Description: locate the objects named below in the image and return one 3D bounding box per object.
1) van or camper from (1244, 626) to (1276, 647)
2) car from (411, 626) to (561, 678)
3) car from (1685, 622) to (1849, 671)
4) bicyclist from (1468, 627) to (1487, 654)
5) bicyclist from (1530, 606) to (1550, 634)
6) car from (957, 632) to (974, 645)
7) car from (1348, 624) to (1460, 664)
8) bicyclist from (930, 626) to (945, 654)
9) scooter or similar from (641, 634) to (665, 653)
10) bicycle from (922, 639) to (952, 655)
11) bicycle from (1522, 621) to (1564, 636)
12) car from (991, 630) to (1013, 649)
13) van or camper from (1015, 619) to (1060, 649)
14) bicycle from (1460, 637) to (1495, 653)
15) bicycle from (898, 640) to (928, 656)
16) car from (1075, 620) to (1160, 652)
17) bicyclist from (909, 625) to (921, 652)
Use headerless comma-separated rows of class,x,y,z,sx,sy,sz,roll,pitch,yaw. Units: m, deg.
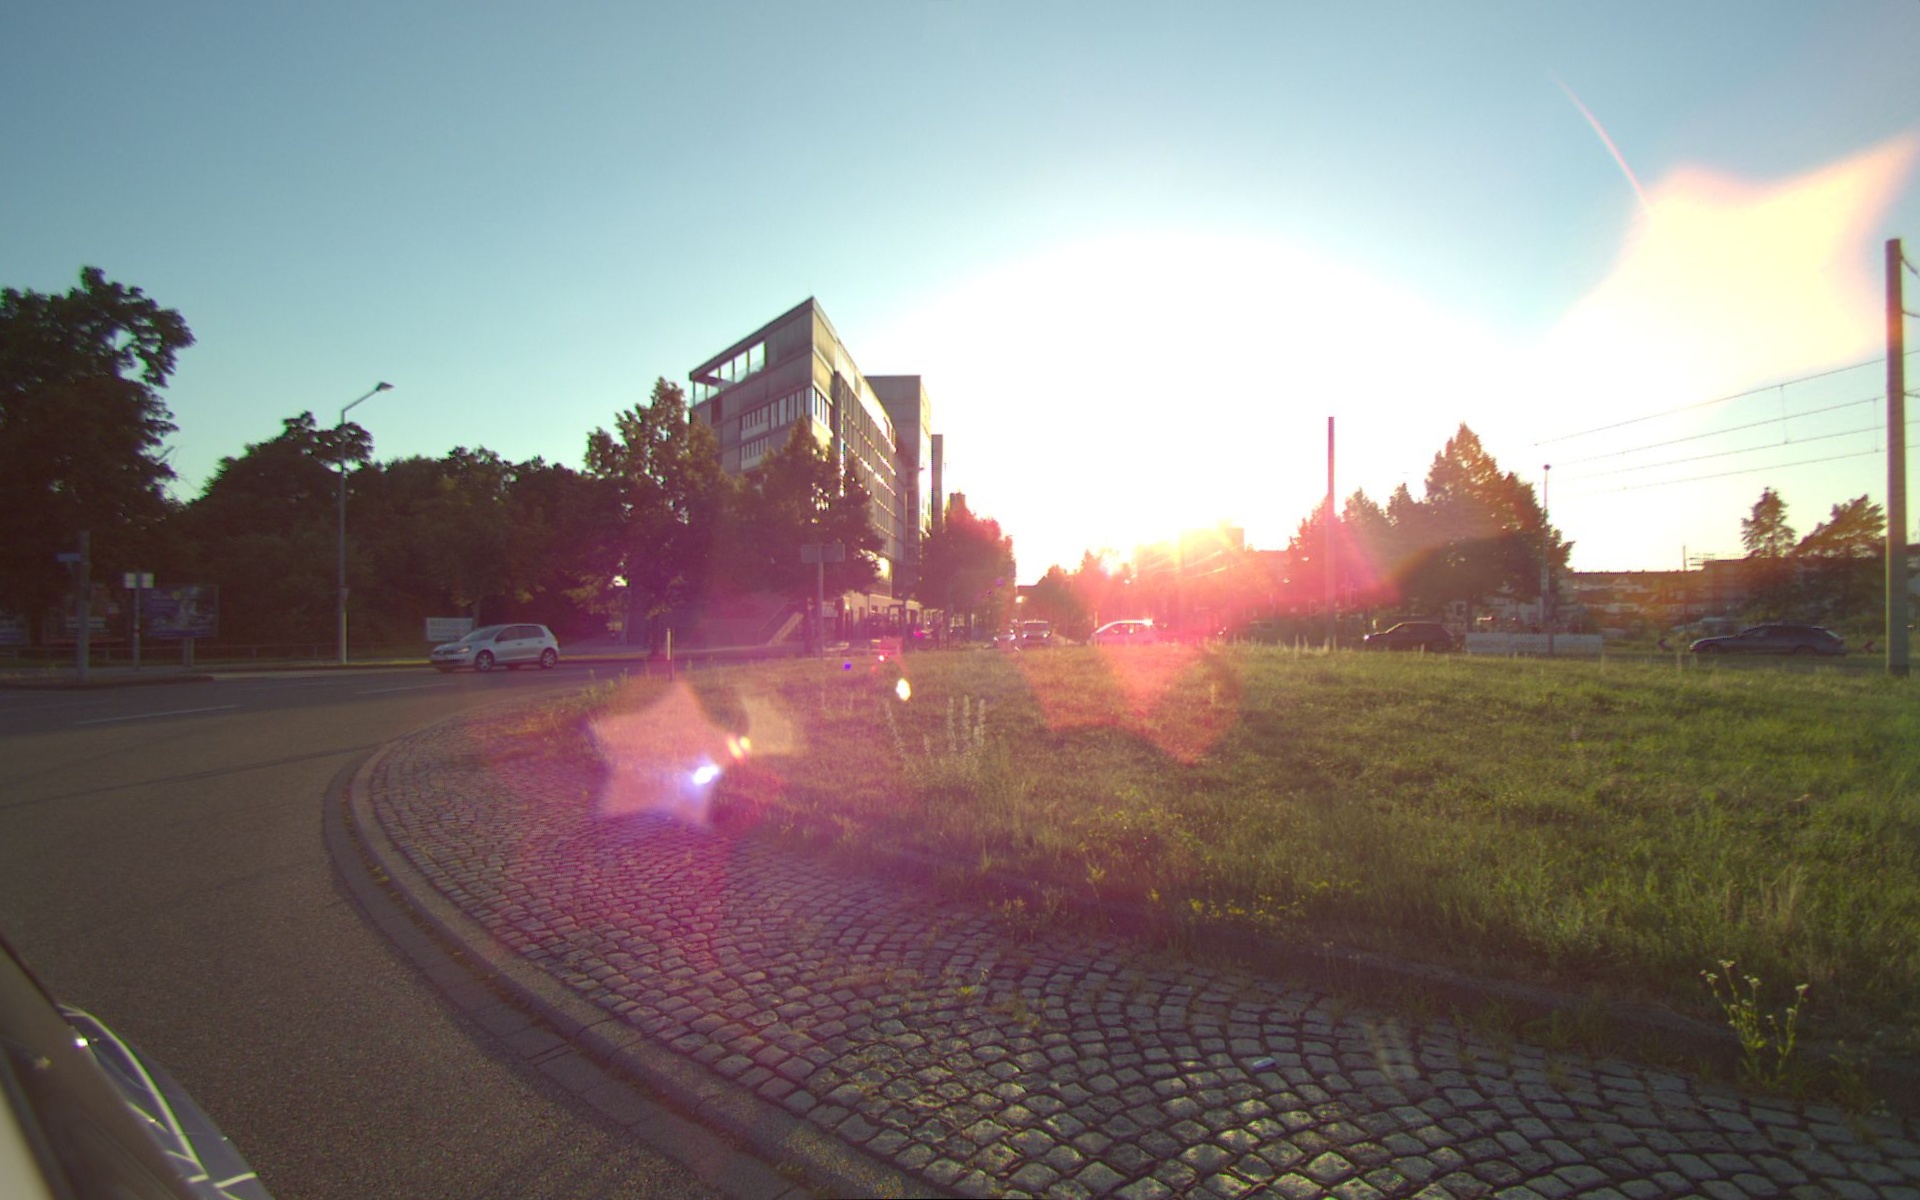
van or camper,29.834,3.649,100.754,1.890,2.025,5.297,0,-3,3
car,-14.882,1.587,31.999,1.883,1.492,4.014,-1,-1,27
car,30.420,1.738,38.277,1.724,1.761,4.603,1,-3,-41
bicyclist,32.029,2.485,62.662,0.805,1.653,0.813,-1,-2,7
bicyclist,34.511,1.180,60.204,0.684,1.646,0.800,1,-3,-37
car,0.673,4.382,115.849,1.779,1.475,3.996,0,-2,3
car,20.468,2.020,46.724,4.578,1.761,1.734,-1,-2,30
bicyclist,-1.432,2.551,64.605,0.840,1.769,0.801,-1,-2,10
scooter or similar,-20.585,2.920,67.898,1.562,1.229,0.365,-1,-2,14
bicycle,-1.470,3.035,64.945,1.843,1.030,0.436,-1,-2,11
bicycle,34.654,1.714,60.190,0.504,0.852,2.140,1,-3,-37
car,3.465,3.276,83.447,1.779,1.475,3.996,0,-1,3
van or camper,5.452,2.306,70.286,1.983,1.972,5.298,-1,-1,17
bicycle,32.040,2.791,62.653,1.821,0.988,0.549,-1,-2,7
bicycle,-2.955,2.998,63.132,1.834,1.030,0.308,0,-2,-6
car,7.363,1.685,47.517,3.653,1.476,1.609,0,-2,-6
bicyclist,-2.828,2.425,63.361,0.674,1.660,0.685,0,-2,-6
